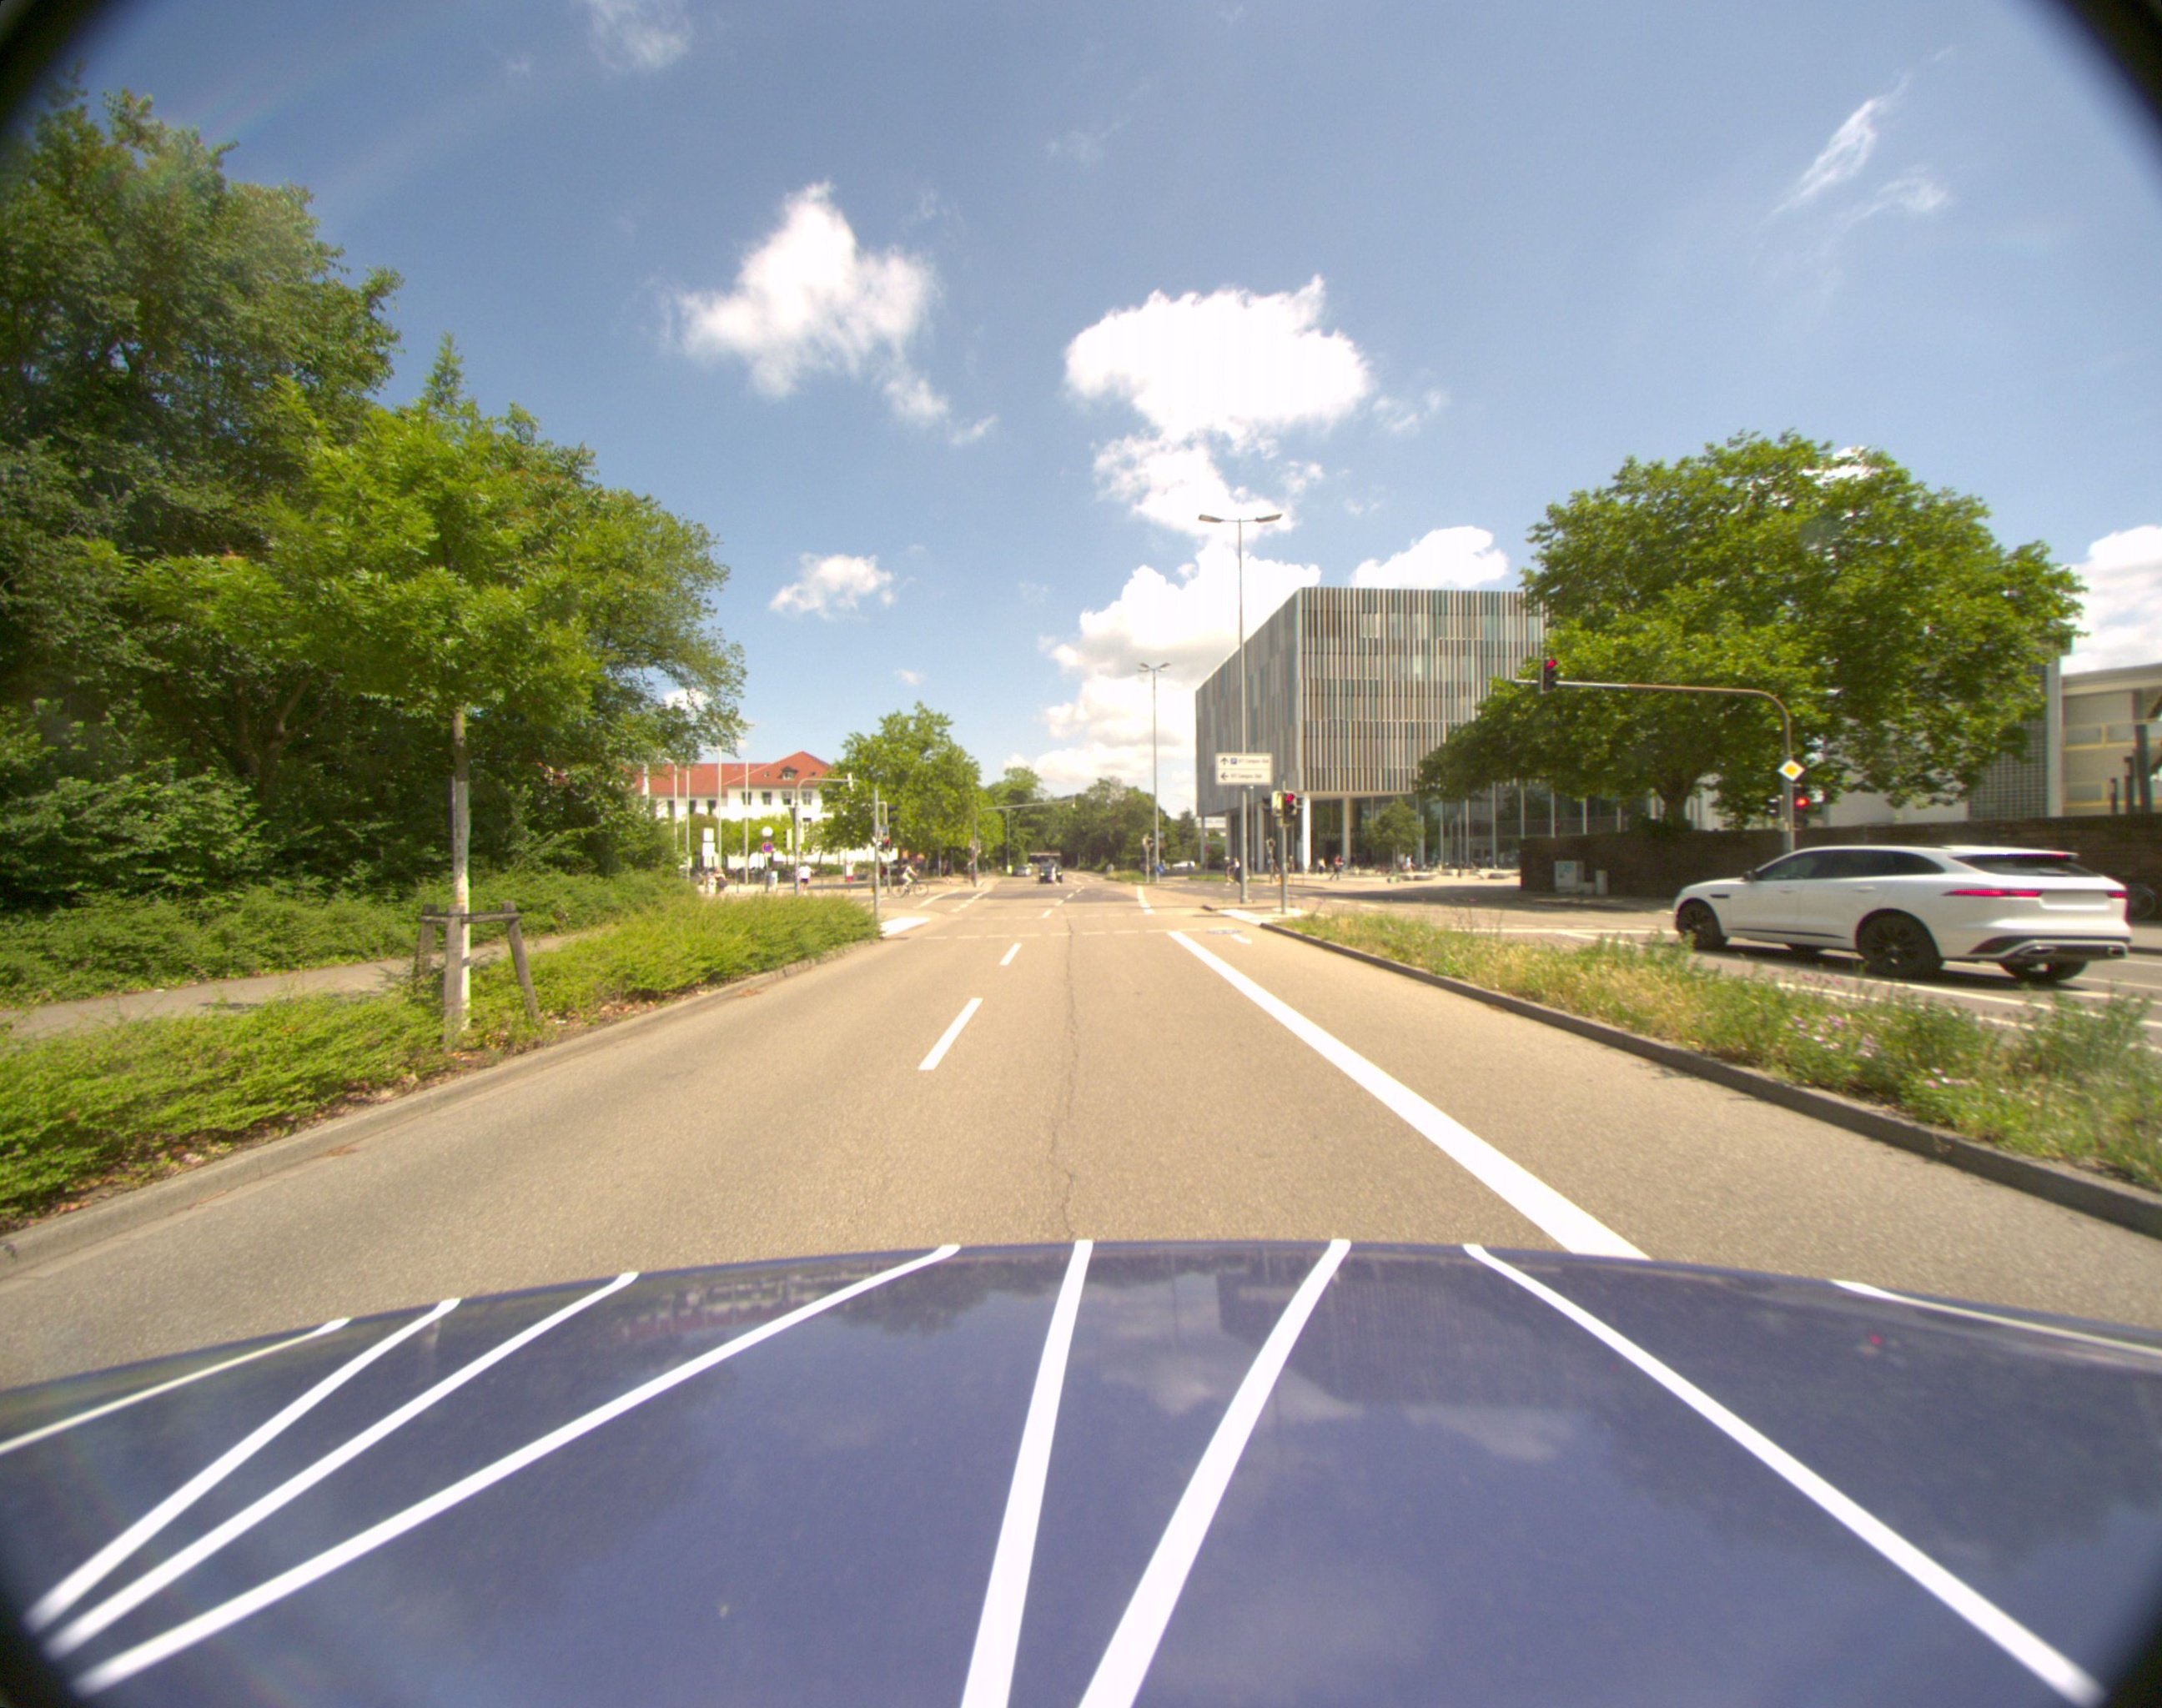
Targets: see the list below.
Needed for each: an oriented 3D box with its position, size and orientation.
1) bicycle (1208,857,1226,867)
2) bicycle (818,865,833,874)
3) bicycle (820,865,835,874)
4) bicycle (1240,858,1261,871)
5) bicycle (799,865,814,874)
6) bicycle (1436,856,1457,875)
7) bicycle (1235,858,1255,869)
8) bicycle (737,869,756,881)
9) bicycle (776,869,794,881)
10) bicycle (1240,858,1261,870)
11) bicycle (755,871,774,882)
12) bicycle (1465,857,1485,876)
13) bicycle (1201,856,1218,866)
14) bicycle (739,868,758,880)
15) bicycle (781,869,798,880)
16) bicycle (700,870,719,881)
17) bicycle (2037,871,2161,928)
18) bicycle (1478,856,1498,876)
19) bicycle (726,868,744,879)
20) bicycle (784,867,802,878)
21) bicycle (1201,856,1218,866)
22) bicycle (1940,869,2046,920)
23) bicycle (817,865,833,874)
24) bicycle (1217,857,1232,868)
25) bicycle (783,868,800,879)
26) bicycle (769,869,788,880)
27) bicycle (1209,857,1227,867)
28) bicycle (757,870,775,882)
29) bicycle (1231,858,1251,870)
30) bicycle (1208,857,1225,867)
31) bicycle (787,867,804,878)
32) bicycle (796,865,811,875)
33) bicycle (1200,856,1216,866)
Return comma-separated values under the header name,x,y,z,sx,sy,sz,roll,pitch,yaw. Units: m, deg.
name,x,y,z,sx,sy,sz,roll,pitch,yaw
bicycle,19.710,1.139,110.307,2.511,1.486,0.621,-1,0,-1
bicycle,-26.362,1.593,78.499,1.429,0.945,0.352,-1,0,-7
bicycle,-26.373,1.588,79.078,1.429,0.945,0.352,-1,0,-7
bicycle,20.871,1.270,93.539,2.452,1.486,0.621,-1,0,-1
bicycle,-28.273,1.615,78.183,1.429,0.945,0.352,-1,0,-7
bicycle,31.161,0.989,64.759,0.997,1.543,3.422,-1,0,36
bicycle,21.188,1.227,98.134,2.511,1.486,0.621,-1,0,-1
bicycle,-27.755,1.714,63.064,1.371,0.995,0.352,-1,0,-7
bicycle,-25.273,1.798,64.820,1.371,0.945,0.352,-1,0,-7
bicycle,21.130,1.257,94.552,2.509,1.486,0.730,-1,0,9
bicycle,-25.848,1.835,62.067,1.371,0.945,0.352,-1,0,-7
bicycle,32.801,1.007,63.222,0.997,1.543,3.422,-1,0,36
bicycle,19.297,1.112,113.992,2.511,1.486,0.621,-1,0,-1
bicycle,-27.799,1.703,63.570,1.371,0.995,0.352,-1,0,-7
bicycle,-25.139,1.784,65.531,1.371,0.945,0.352,-1,0,-7
bicycle,-30.723,1.772,62.788,1.370,0.945,0.352,-1,0,2
bicycle,21.929,0.947,16.339,0.623,1.145,1.593,-1,0,-9
bicycle,32.964,0.979,61.567,0.997,1.543,3.422,-1,0,36
bicycle,-30.721,1.731,67.427,1.372,0.945,0.352,-1,0,-10
bicycle,-25.779,1.690,68.013,1.371,0.945,0.352,-1,0,-7
bicycle,19.387,1.105,114.695,2.511,1.486,0.621,-1,0,-1
bicycle,21.699,0.939,18.119,0.500,1.145,1.593,-1,0,-9
bicycle,-26.268,1.596,77.990,1.429,0.945,0.352,-1,0,-7
bicycle,20.135,1.166,106.641,2.071,1.486,0.621,-1,0,-1
bicycle,-25.695,1.713,67.366,1.371,0.945,0.352,-1,1,-7
bicycle,-25.560,1.732,64.197,1.371,0.945,0.352,-1,0,-7
bicycle,19.648,1.149,109.193,2.511,1.486,0.621,-1,0,-1
bicycle,-25.970,1.825,62.631,1.371,0.941,0.352,-1,0,-7
bicycle,20.470,1.242,97.216,2.511,1.486,0.621,-1,0,-1
bicycle,19.898,1.128,111.381,2.330,1.486,0.621,-1,0,-1
bicycle,-25.820,1.671,68.671,1.371,0.945,0.352,-1,0,-7
bicycle,-28.317,1.622,77.514,1.429,0.945,0.352,-1,0,-7
bicycle,19.448,1.094,115.983,2.303,1.486,0.657,-1,0,-1
